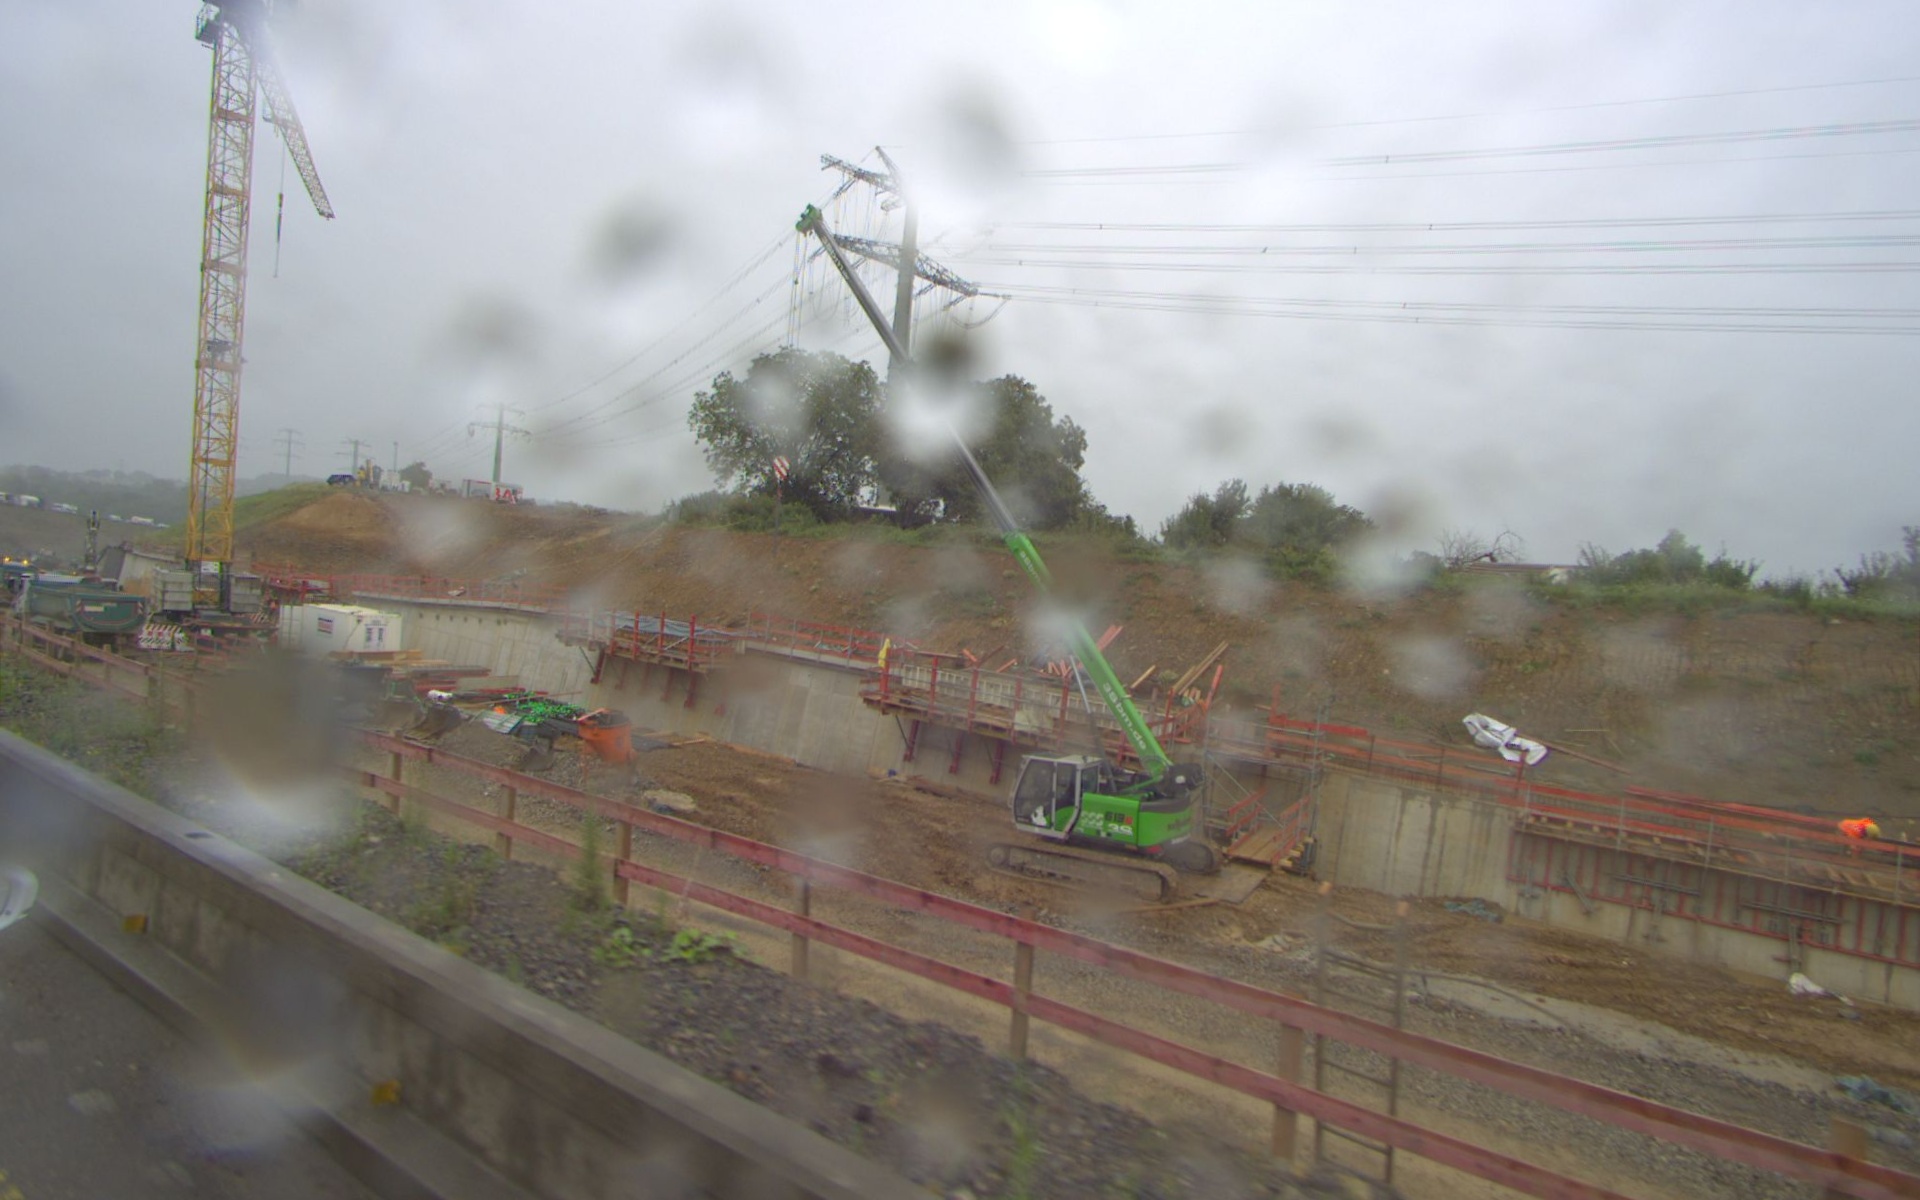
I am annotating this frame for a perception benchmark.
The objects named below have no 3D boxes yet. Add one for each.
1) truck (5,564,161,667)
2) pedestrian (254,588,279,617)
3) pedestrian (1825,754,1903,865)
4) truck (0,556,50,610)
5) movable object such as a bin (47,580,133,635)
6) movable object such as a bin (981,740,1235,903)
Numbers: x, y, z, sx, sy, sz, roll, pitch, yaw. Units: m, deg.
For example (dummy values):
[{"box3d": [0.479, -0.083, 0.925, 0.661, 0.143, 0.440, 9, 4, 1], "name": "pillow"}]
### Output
[{"box3d": [-38.736, 0.612, 44.314, 8.805, 3.544, 2.703, 6, -2, 34], "name": "truck"}, {"box3d": [-52.797, 0.175, 76.612, 0.886, 2.013, 0.906, 5, -12, 41], "name": "pedestrian"}, {"box3d": [20.305, 4.680, 22.616, 0.989, 2.267, 0.919, 6, -5, 29], "name": "pedestrian"}, {"box3d": [-75.931, -1.460, 81.008, 8.941, 3.531, 2.727, 5, -2, 42], "name": "truck"}, {"box3d": [-51.836, 0.457, 59.955, 2.924, 2.769, 3.151, 6, -2, 37], "name": "movable object such as a bin"}, {"box3d": [3.547, 5.000, 23.770, 4.779, 2.836, 3.797, 0, -4, 32], "name": "movable object such as a bin"}]
